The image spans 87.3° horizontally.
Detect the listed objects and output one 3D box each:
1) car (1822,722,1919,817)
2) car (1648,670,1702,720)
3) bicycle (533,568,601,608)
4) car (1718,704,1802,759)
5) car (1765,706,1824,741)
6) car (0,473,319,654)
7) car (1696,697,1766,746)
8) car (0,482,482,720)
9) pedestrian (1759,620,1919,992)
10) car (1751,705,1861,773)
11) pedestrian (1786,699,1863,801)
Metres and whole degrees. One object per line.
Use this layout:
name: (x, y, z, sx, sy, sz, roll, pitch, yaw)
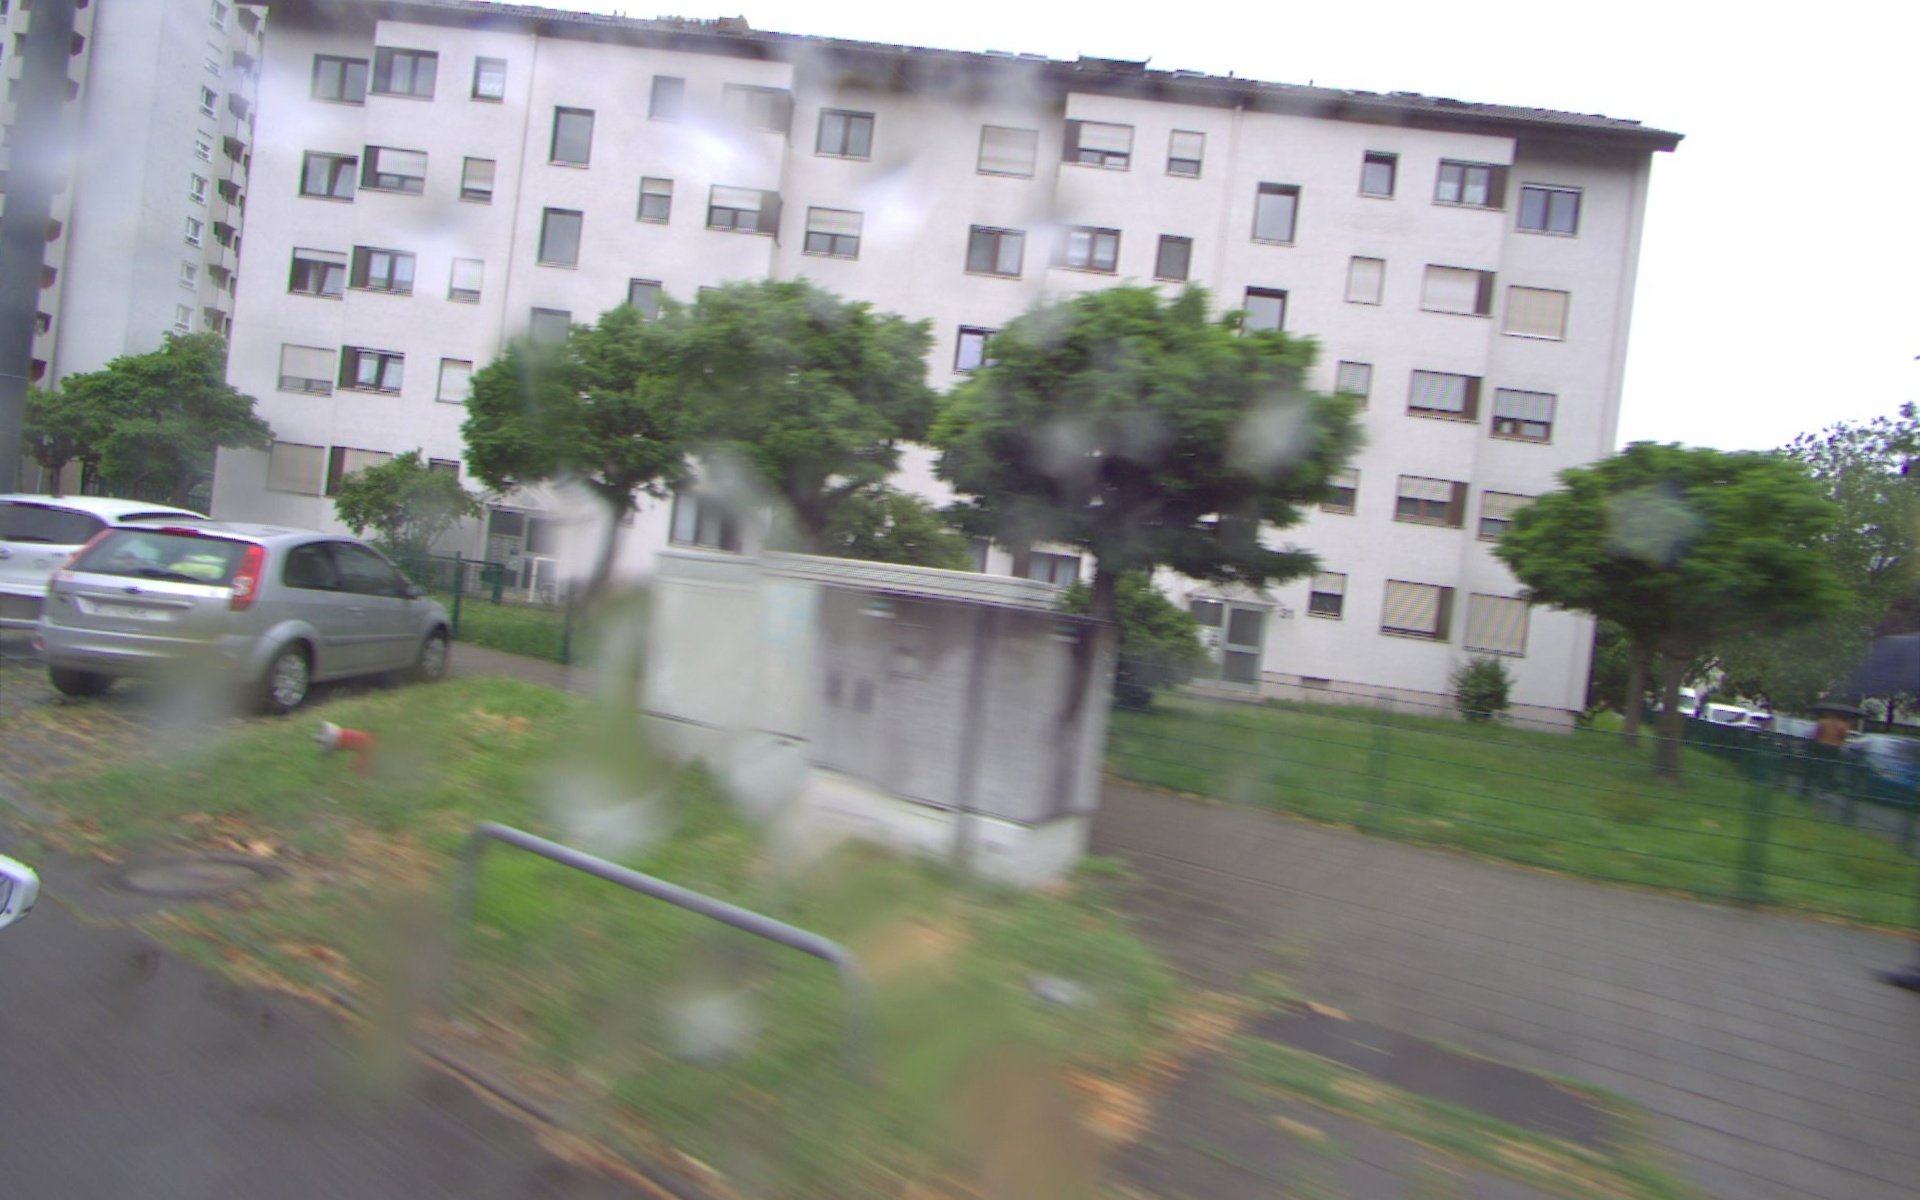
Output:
car: (19.549, 3.508, 20.811, 1.906, 1.524, 4.296, 7, 0, 33)
car: (43.380, 5.722, 61.148, 2.045, 2.614, 4.916, 7, 0, 31)
bicycle: (-10.407, -0.320, 26.648, 1.542, 0.858, 0.491, 7, 1, 6)
car: (29.339, 4.774, 37.006, 1.657, 1.524, 4.299, 7, 0, 30)
car: (46.888, 6.924, 56.600, 1.710, 1.524, 3.999, 7, 0, 29)
car: (-8.826, -0.392, 10.753, 1.675, 1.527, 3.994, 5, 0, -7)
car: (32.650, 5.106, 42.724, 1.657, 1.676, 4.299, 7, 0, 30)
car: (-6.088, -0.010, 9.063, 1.751, 1.527, 3.996, 5, 0, -4)
pedestrian: (5.396, 1.139, 5.468, 1.414, 1.836, 1.097, 8, 1, 42)
car: (25.307, 4.109, 30.242, 1.657, 1.524, 4.299, 7, 0, 30)
pedestrian: (16.588, 2.847, 19.329, 0.708, 1.790, 1.180, 8, 1, 29)
